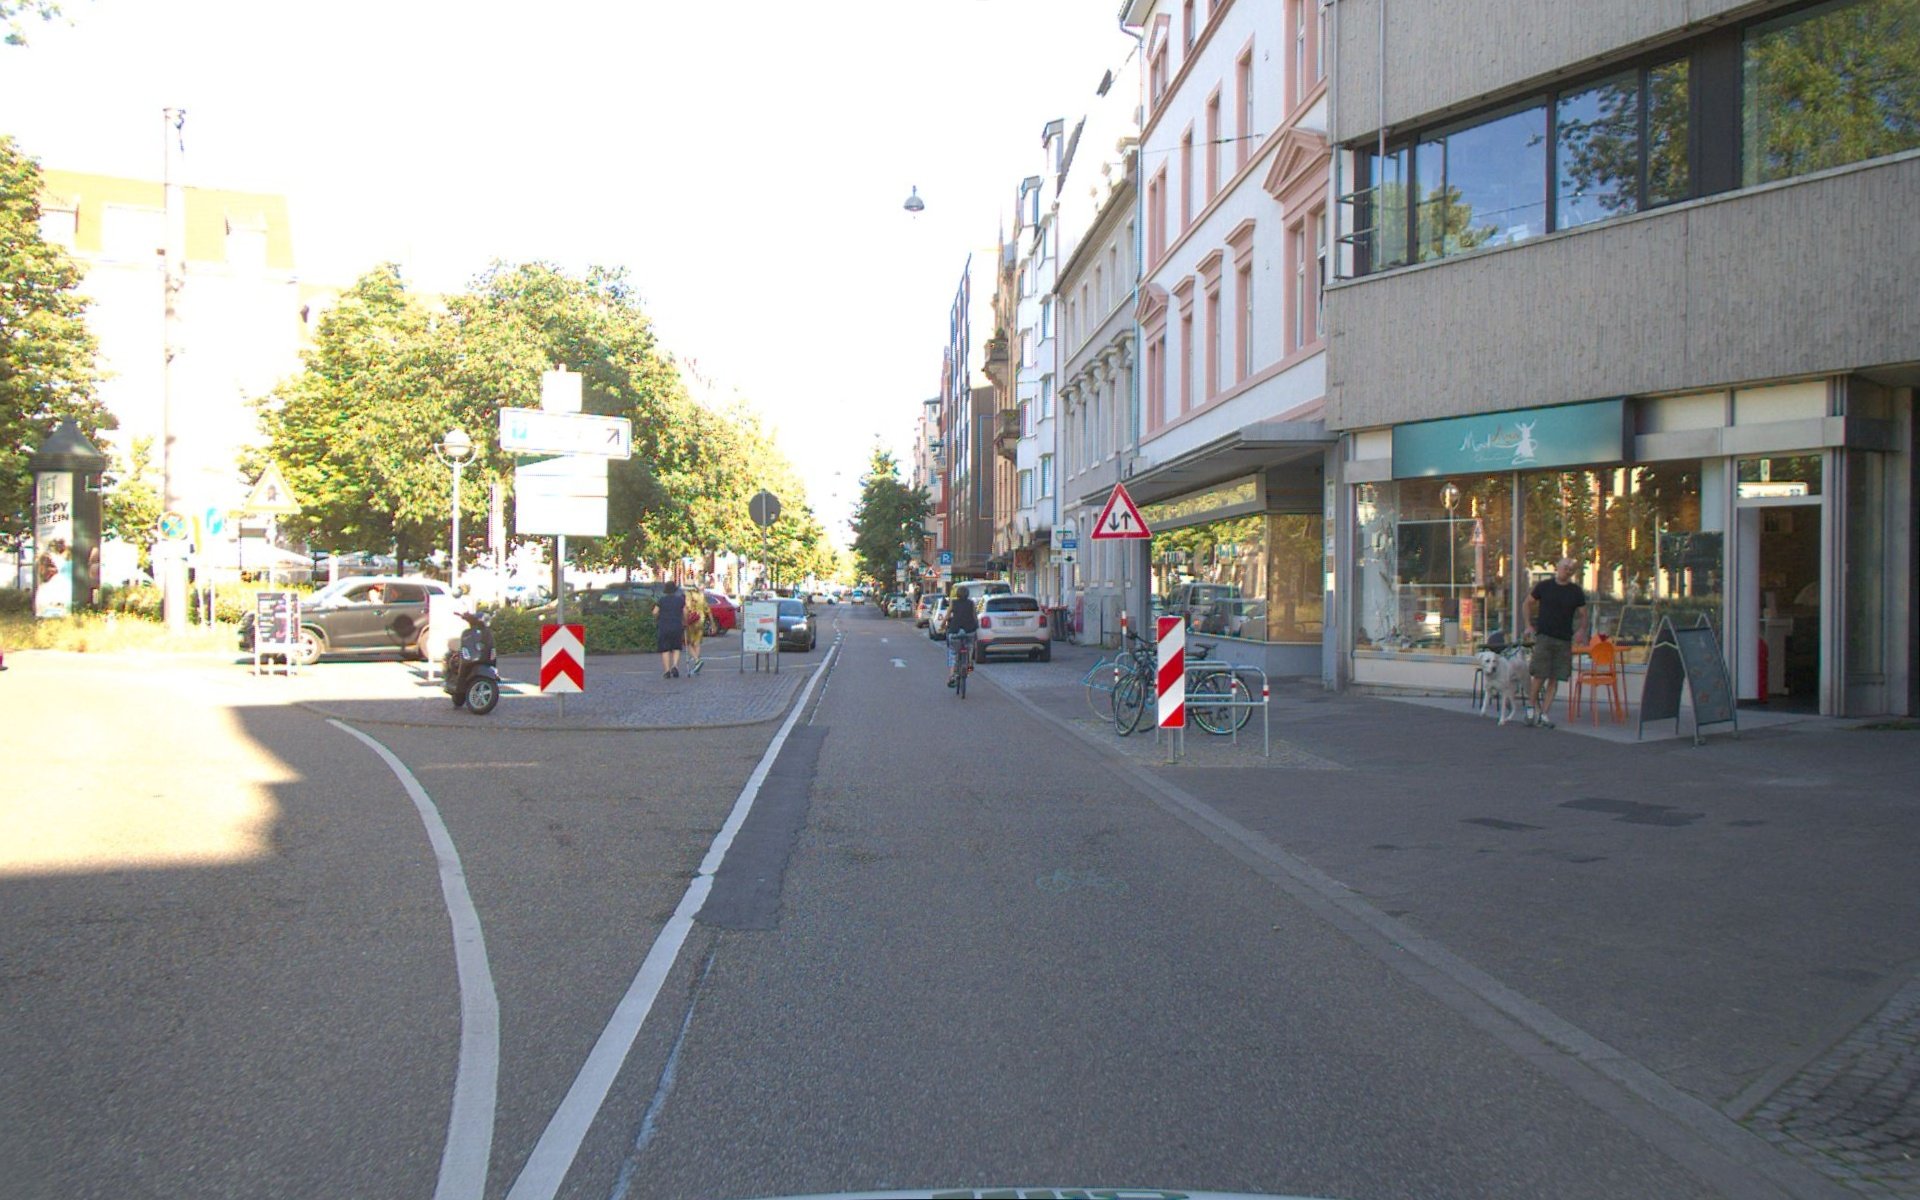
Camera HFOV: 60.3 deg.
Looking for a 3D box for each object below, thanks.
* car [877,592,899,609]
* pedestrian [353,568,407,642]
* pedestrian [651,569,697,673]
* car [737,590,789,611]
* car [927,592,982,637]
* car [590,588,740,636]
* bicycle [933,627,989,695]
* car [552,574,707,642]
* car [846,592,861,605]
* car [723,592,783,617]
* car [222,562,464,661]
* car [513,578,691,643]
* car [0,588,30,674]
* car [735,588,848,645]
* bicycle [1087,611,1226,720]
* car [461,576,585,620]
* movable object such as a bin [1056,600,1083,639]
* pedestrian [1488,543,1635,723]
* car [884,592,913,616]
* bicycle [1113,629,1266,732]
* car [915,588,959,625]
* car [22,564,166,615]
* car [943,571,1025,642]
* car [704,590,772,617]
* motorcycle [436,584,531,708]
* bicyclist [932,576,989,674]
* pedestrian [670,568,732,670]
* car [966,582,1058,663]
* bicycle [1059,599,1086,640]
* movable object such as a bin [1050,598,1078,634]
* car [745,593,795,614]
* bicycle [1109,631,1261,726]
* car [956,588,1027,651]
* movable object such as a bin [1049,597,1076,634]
[{"bbox_3d":[-6.741,0.047,153.984,1.954,1.478,3.997,1,0,-4],"label":"car"},{"bbox_3d":[-12.476,0.114,35.554,0.763,1.549,0.944,3,-1,-41],"label":"pedestrian"},{"bbox_3d":[-4.764,0.356,27.574,0.623,1.701,0.692,1,-1,-3],"label":"pedestrian"},{"bbox_3d":[-15.429,0.018,129.579,3.907,1.534,1.893,2,-1,-3],"label":"car"},{"bbox_3d":[-0.225,0.528,59.662,1.684,1.541,3.579,-2,-1,-4],"label":"car"},{"bbox_3d":[-10.135,0.424,56.875,4.772,1.514,1.751,2,-1,-25],"label":"car"},{"bbox_3d":[-0.009,0.913,25.638,0.639,0.975,2.695,2,-1,-4],"label":"bicycle"},{"bbox_3d":[-9.095,0.217,45.478,3.928,1.697,1.989,2,0,-20],"label":"car"},{"bbox_3d":[-13.189,-0.192,205.180,1.833,1.583,3.997,2,-1,-3],"label":"car"},{"bbox_3d":[-14.225,0.317,113.823,3.907,1.534,1.999,2,-1,-3],"label":"car"},{"bbox_3d":[-11.407,0.218,30.714,3.840,1.711,1.783,0,-1,-44],"label":"car"},{"bbox_3d":[-9.003,0.288,41.730,3.960,1.495,1.849,2,-1,-39],"label":"car"},{"bbox_3d":[-17.858,0.491,28.912,1.982,1.448,4.134,2,-1,-41],"label":"car"},{"bbox_3d":[-4.552,0.482,45.462,1.870,1.441,4.814,1,-1,9],"label":"car"},{"bbox_3d":[2.418,0.796,20.342,1.587,1.265,0.659,1,-1,16],"label":"bicycle"},{"bbox_3d":[-20.464,-0.073,77.480,5.209,1.831,2.141,2,-1,-31],"label":"car"},{"bbox_3d":[3.377,0.608,51.189,0.753,1.181,0.578,2,-1,-1],"label":"movable object such as a bin"},{"bbox_3d":[6.214,0.339,17.135,1.109,1.773,1.022,2,-1,-1],"label":"pedestrian"},{"bbox_3d":[-4.505,0.312,121.716,1.953,1.646,4.009,2,-1,-1],"label":"car"},{"bbox_3d":[2.569,0.892,18.495,1.643,1.081,0.344,1,-1,12],"label":"bicycle"},{"bbox_3d":[-1.143,0.357,80.781,1.861,1.704,4.820,2,-1,-4],"label":"car"},{"bbox_3d":[-38.305,-0.434,73.209,5.517,2.049,1.799,2,-1,-31],"label":"car"},{"bbox_3d":[0.660,0.175,50.085,1.955,2.040,5.112,0,0,-5],"label":"car"},{"bbox_3d":[-13.534,0.240,100.875,3.907,1.534,1.999,2,-1,-3],"label":"car"},{"bbox_3d":[-5.668,0.533,19.602,0.737,1.398,1.745,2,-1,-27],"label":"motorcycle"},{"bbox_3d":[-0.006,0.392,25.787,0.771,1.478,1.094,2,-1,-4],"label":"bicyclist"},{"bbox_3d":[-4.463,0.326,28.534,0.787,1.729,0.669,1,-1,27],"label":"pedestrian"},{"bbox_3d":[1.191,0.542,39.962,1.711,1.769,4.956,2,-1,-4],"label":"car"},{"bbox_3d":[3.341,0.590,49.131,0.473,1.206,1.721,-2,-2,14],"label":"bicycle"},{"bbox_3d":[3.302,0.503,52.463,0.779,1.095,0.660,-3,-1,-2],"label":"movable object such as a bin"},{"bbox_3d":[-15.420,0.289,134.207,3.908,1.534,1.998,2,-1,-4],"label":"car"},{"bbox_3d":[2.574,0.885,18.887,1.667,1.022,0.428,1,-1,12],"label":"bicycle"},{"bbox_3d":[0.825,0.538,45.177,1.665,1.632,3.754,0,-1,-3],"label":"car"},{"bbox_3d":[3.295,0.495,53.169,0.821,1.157,0.699,0,-1,-1],"label":"movable object such as a bin"}]
